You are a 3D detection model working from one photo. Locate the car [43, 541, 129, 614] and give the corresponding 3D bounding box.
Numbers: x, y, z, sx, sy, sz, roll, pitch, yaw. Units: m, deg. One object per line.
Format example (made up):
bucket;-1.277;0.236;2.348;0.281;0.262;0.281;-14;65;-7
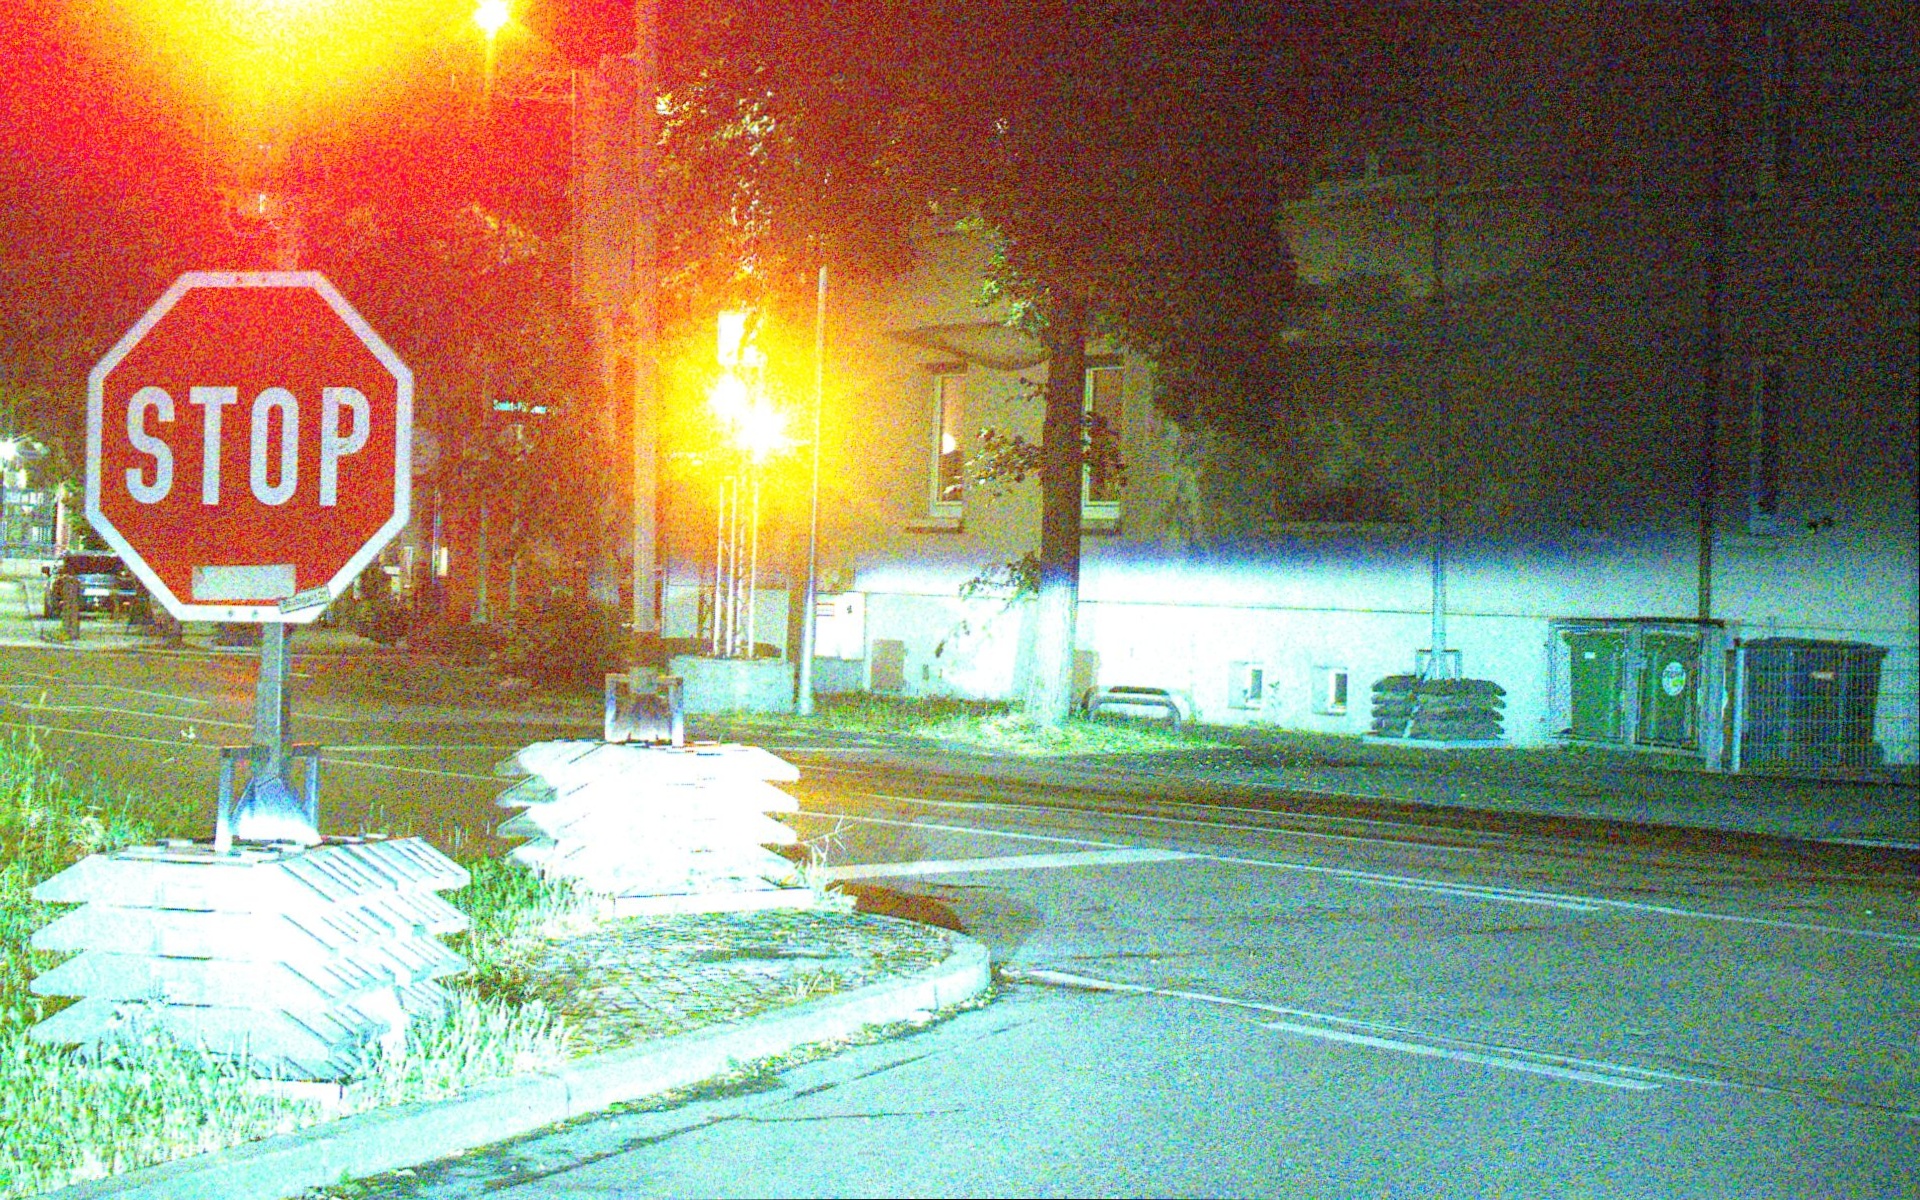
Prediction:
car;-18.262;-0.485;71.904;1.651;1.426;4.001;2;1;-14
